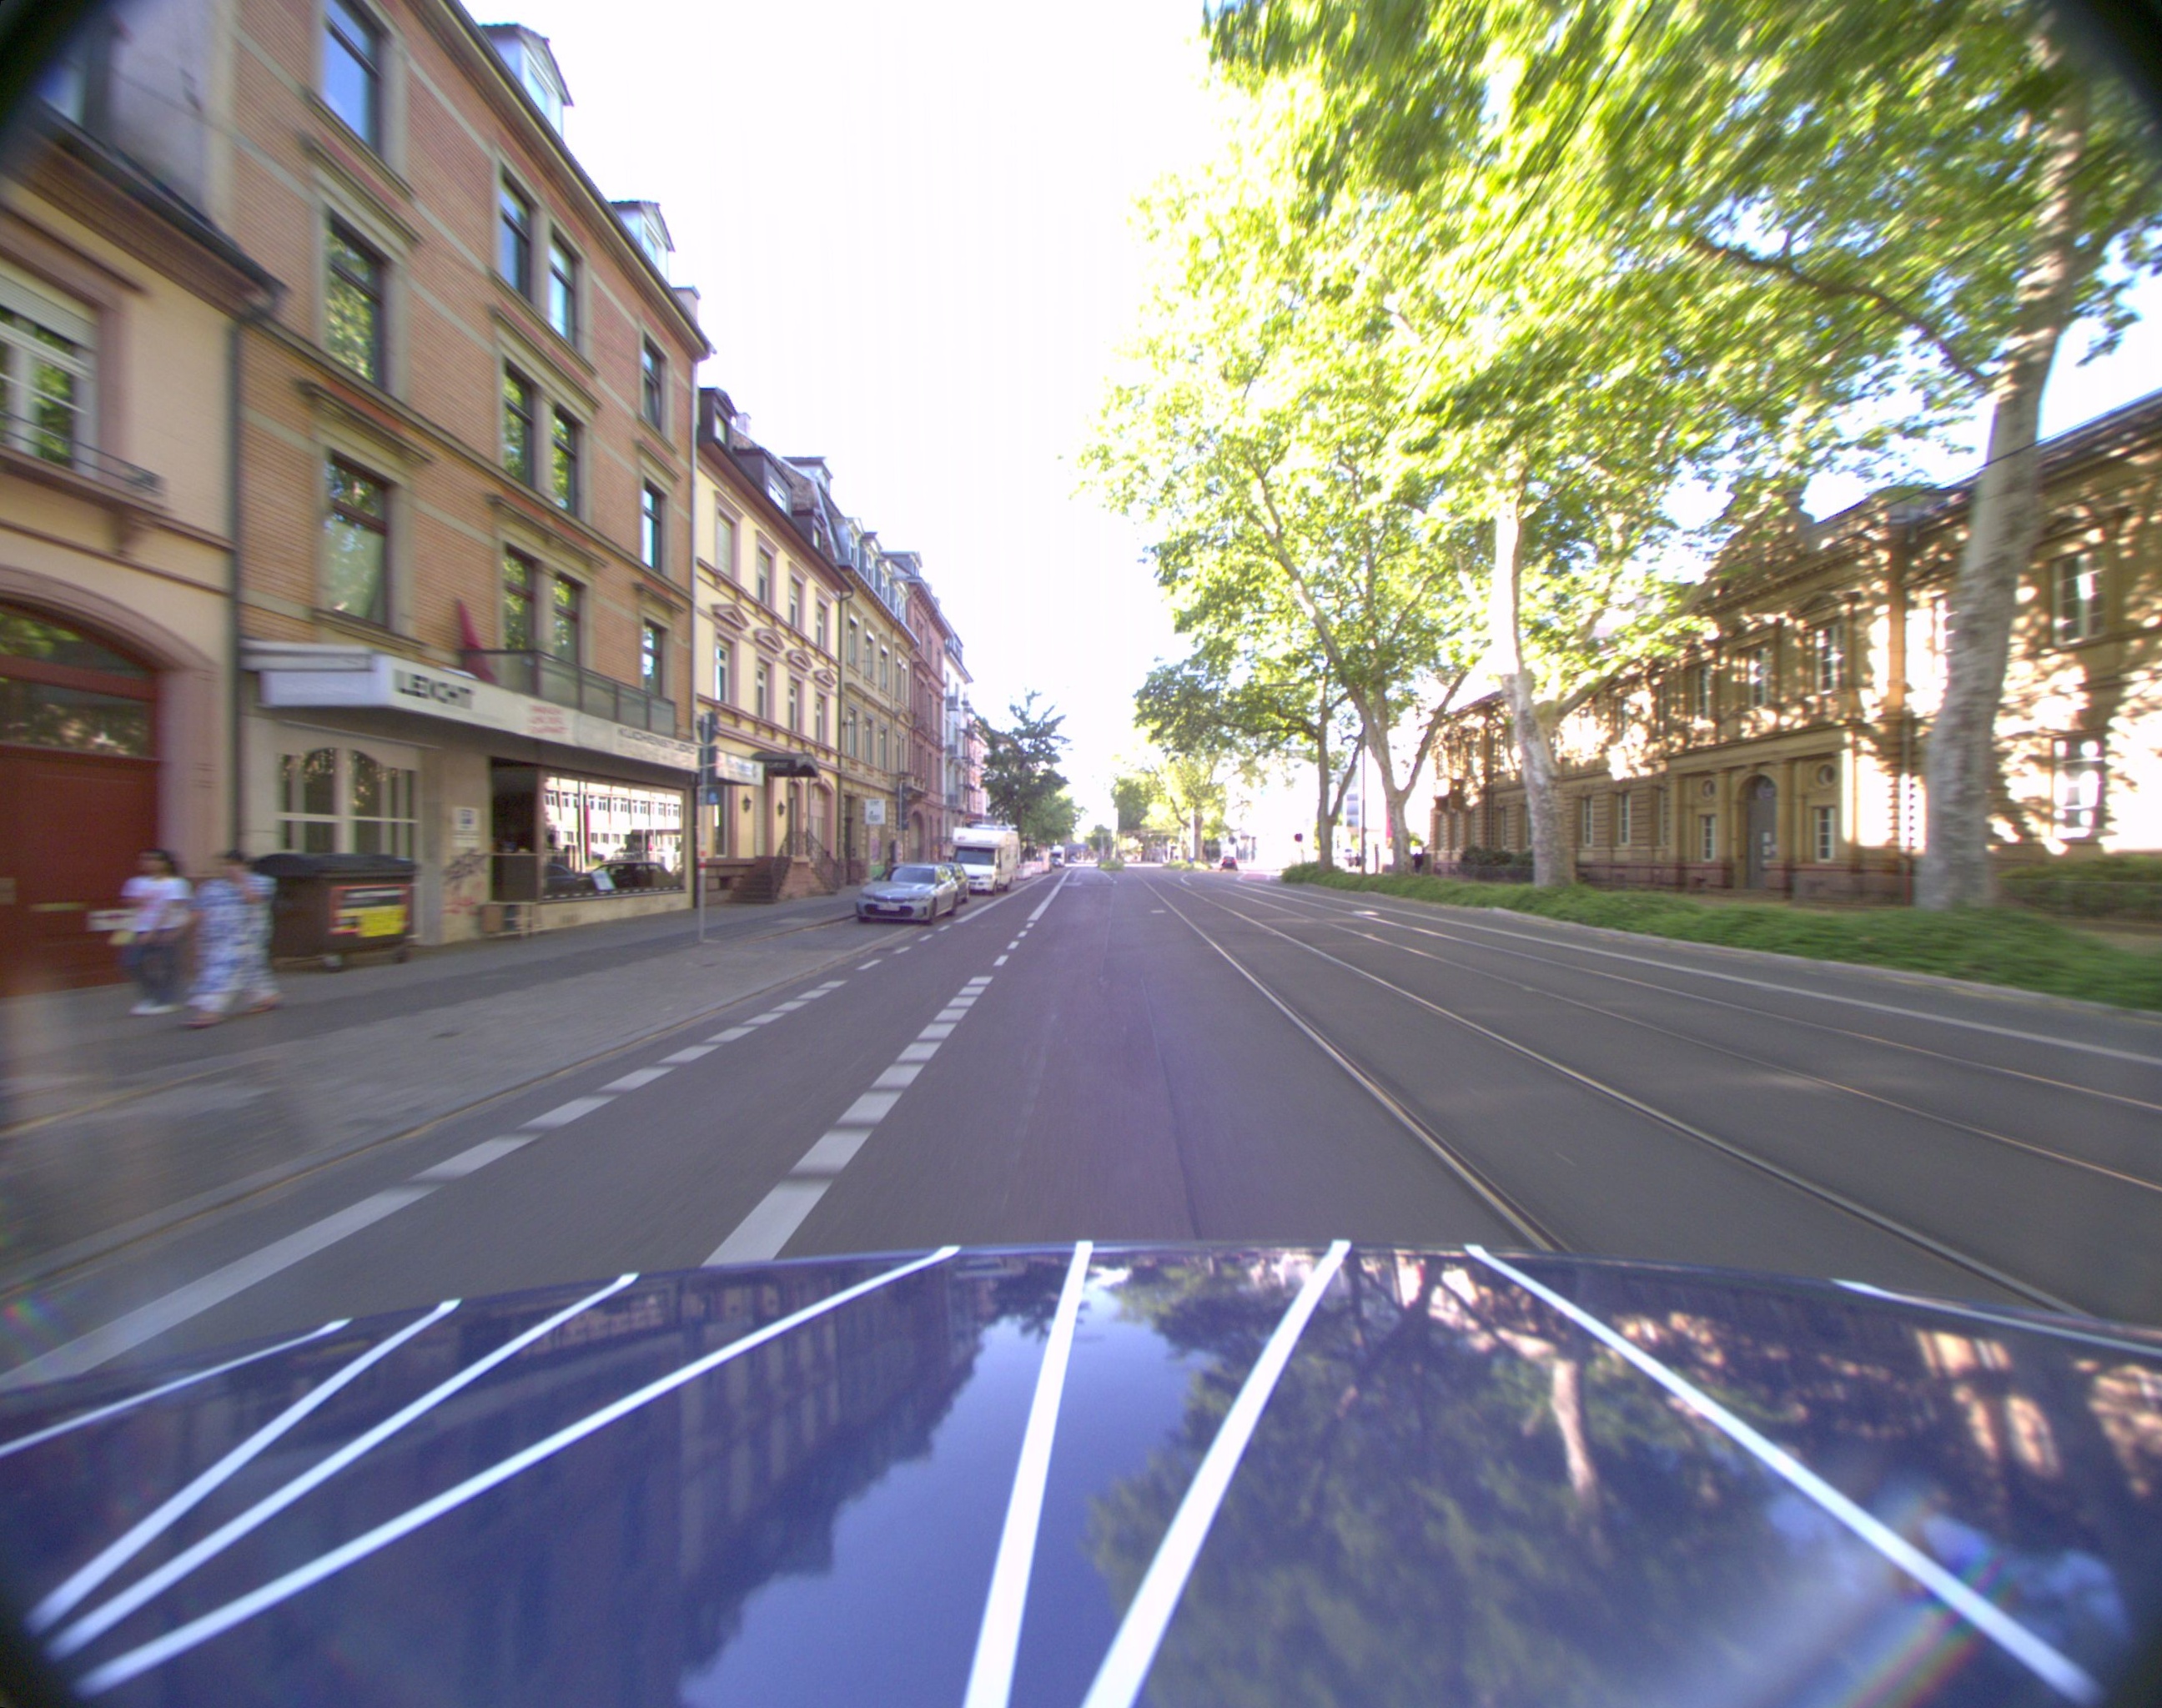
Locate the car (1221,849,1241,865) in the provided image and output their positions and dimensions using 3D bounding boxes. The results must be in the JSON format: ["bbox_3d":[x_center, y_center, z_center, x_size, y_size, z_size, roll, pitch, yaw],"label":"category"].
[{"bbox_3d":[15.571,0.345,78.956,1.870,1.620,4.563,0,0,8],"label":"car"}]

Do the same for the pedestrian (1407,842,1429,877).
[{"bbox_3d":[17.917,0.297,40.369,0.721,1.839,0.837,-1,1,-6],"label":"pedestrian"}]

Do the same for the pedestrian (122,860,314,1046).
[{"bbox_3d":[-7.463,0.809,6.618,0.661,1.496,0.866,0,1,1],"label":"pedestrian"}]

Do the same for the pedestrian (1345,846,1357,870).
[{"bbox_3d":[19.685,0.282,55.430,0.635,1.687,0.656,-1,1,-3],"label":"pedestrian"}]

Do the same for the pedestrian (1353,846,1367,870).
[{"bbox_3d":[20.379,0.295,55.499,0.673,1.687,0.661,-1,1,-6],"label":"pedestrian"}]

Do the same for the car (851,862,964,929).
[{"bbox_3d":[-4.370,0.991,19.881,1.814,1.426,4.664,1,1,1],"label":"car"}]

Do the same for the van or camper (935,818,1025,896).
[{"bbox_3d":[-4.304,0.088,34.090,2.483,2.955,7.884,3,1,3],"label":"van or camper"}]

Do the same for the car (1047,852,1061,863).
[{"bbox_3d":[-3.420,0.436,98.065,1.656,1.439,3.800,1,0,0],"label":"car"}]

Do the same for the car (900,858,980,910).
[{"bbox_3d":[-4.569,0.927,25.184,1.648,1.426,4.029,3,1,3],"label":"car"}]

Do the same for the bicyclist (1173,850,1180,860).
[{"bbox_3d":[15.473,0.147,123.491,1.007,1.567,0.760,-1,1,0],"label":"bicyclist"}]

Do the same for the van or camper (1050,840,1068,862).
[{"bbox_3d":[-3.135,-0.423,108.270,2.172,3.074,7.290,1,0,1],"label":"van or camper"}]

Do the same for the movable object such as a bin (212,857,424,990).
[{"bbox_3d":[-9.424,0.815,9.471,1.296,1.511,1.286,-1,1,1],"label":"movable object such as a bin"}]

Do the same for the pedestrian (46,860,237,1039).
[{"bbox_3d":[-8.266,0.798,6.728,0.659,1.474,0.785,-1,1,1],"label":"pedestrian"}]

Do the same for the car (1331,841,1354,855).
[{"bbox_3d":[34.904,-0.752,101.436,1.852,1.807,4.000,-1,1,1],"label":"car"}]

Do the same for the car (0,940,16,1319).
[{"bbox_3d":[-4.897,1.017,0.596,1.698,1.384,4.495,1,1,3],"label":"car"}]

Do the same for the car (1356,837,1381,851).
[{"bbox_3d":[38.102,-1.304,100.673,1.852,1.742,4.000,-1,1,1],"label":"car"}]
